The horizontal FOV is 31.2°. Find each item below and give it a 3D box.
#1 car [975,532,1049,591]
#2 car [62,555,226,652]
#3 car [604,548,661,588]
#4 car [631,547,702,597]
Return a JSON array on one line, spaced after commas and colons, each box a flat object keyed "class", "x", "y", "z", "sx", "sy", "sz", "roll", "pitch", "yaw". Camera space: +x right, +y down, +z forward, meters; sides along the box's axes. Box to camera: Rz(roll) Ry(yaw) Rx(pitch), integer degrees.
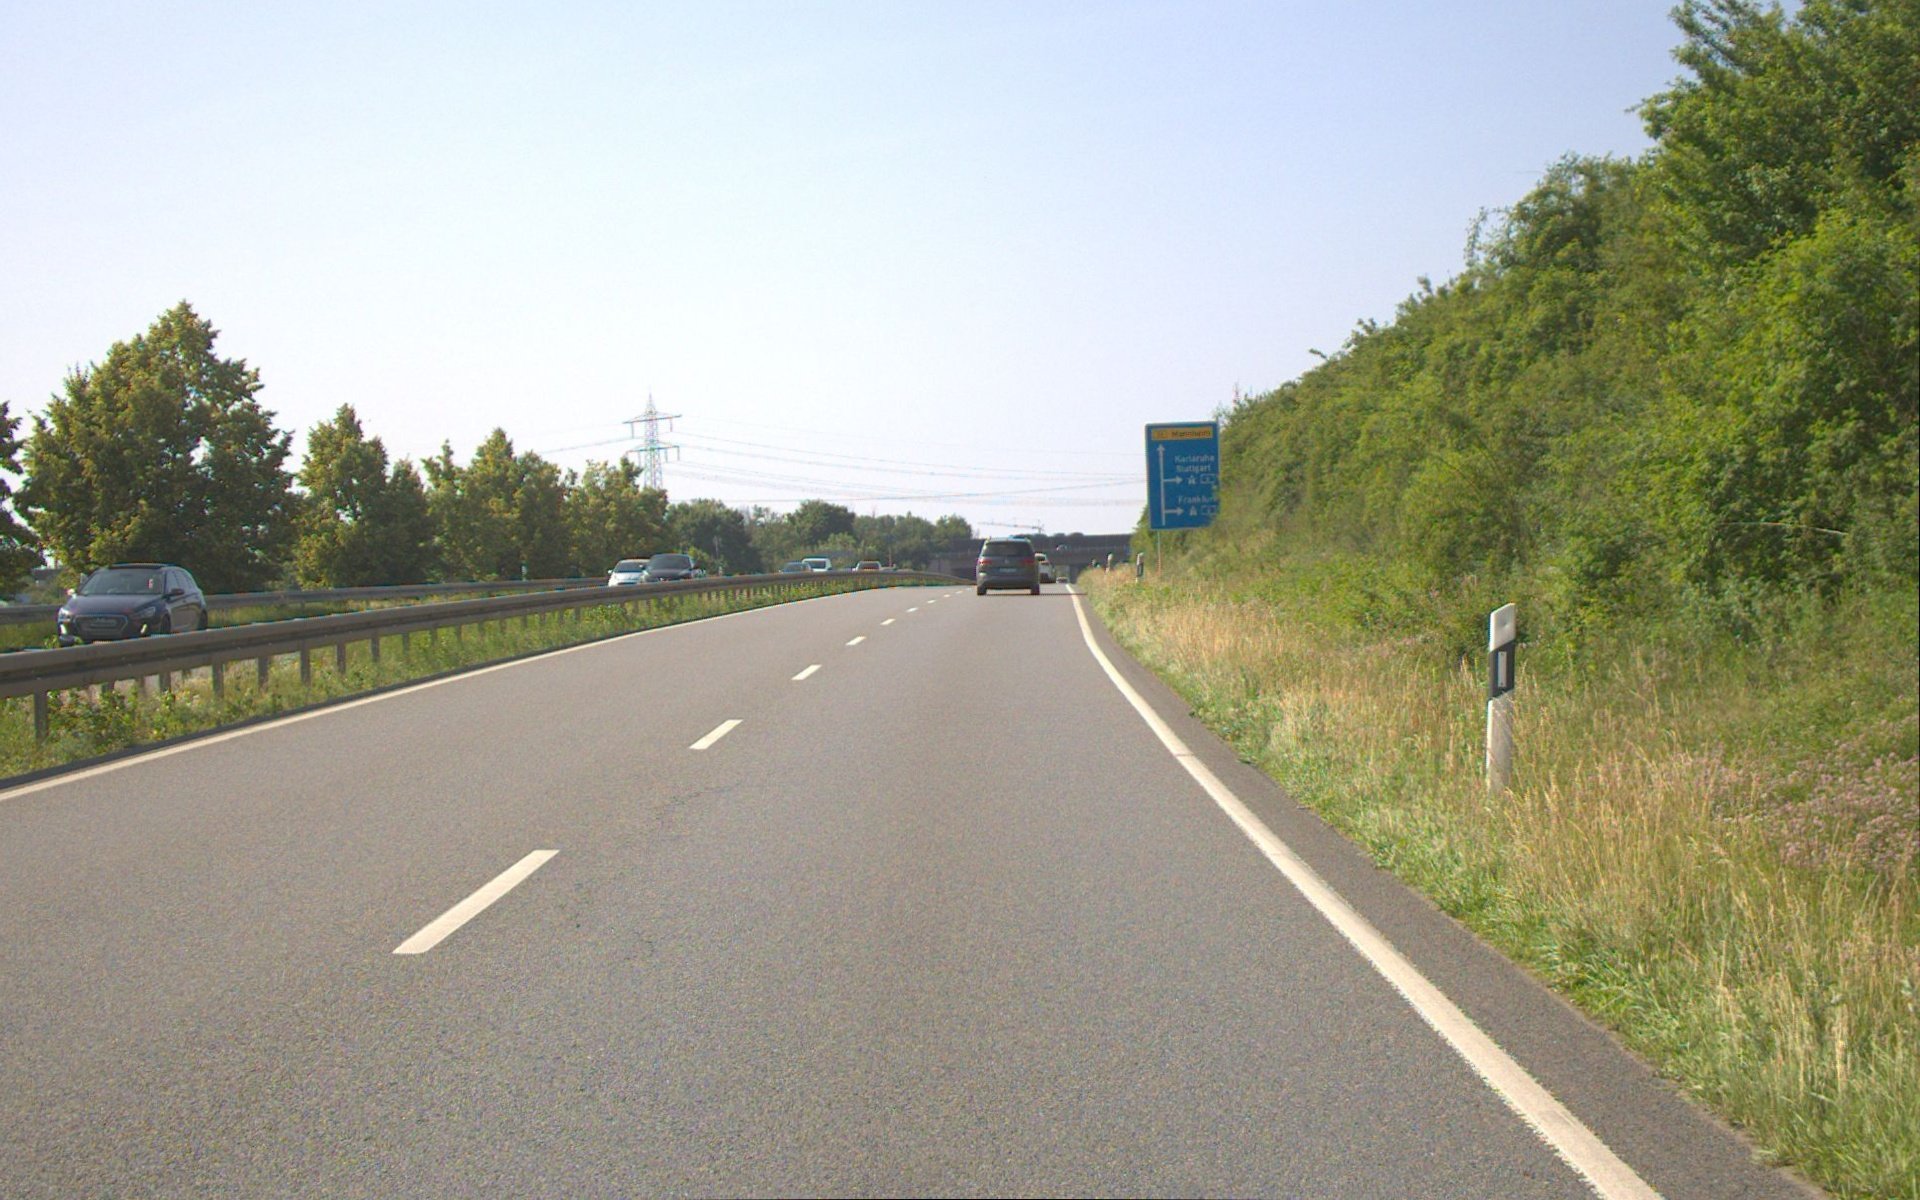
[{"class": "car", "x": 1.521, "y": -1.095, "z": 99.186, "sx": 1.850, "sy": 1.639, "sz": 3.999, "roll": -1, "pitch": 0, "yaw": 5}, {"class": "car", "x": -14.038, "y": 0.028, "z": 59.372, "sx": 1.652, "sy": 1.548, "sz": 4.561, "roll": 1, "pitch": 1, "yaw": 1}, {"class": "car", "x": -12.326, "y": -1.217, "z": 129.614, "sx": 1.690, "sy": 1.432, "sz": 3.940, "roll": 0, "pitch": 1, "yaw": 1}, {"class": "car", "x": -9.462, "y": -0.930, "z": 111.079, "sx": 1.690, "sy": 1.536, "sz": 4.243, "roll": 0, "pitch": 1, "yaw": 3}]
